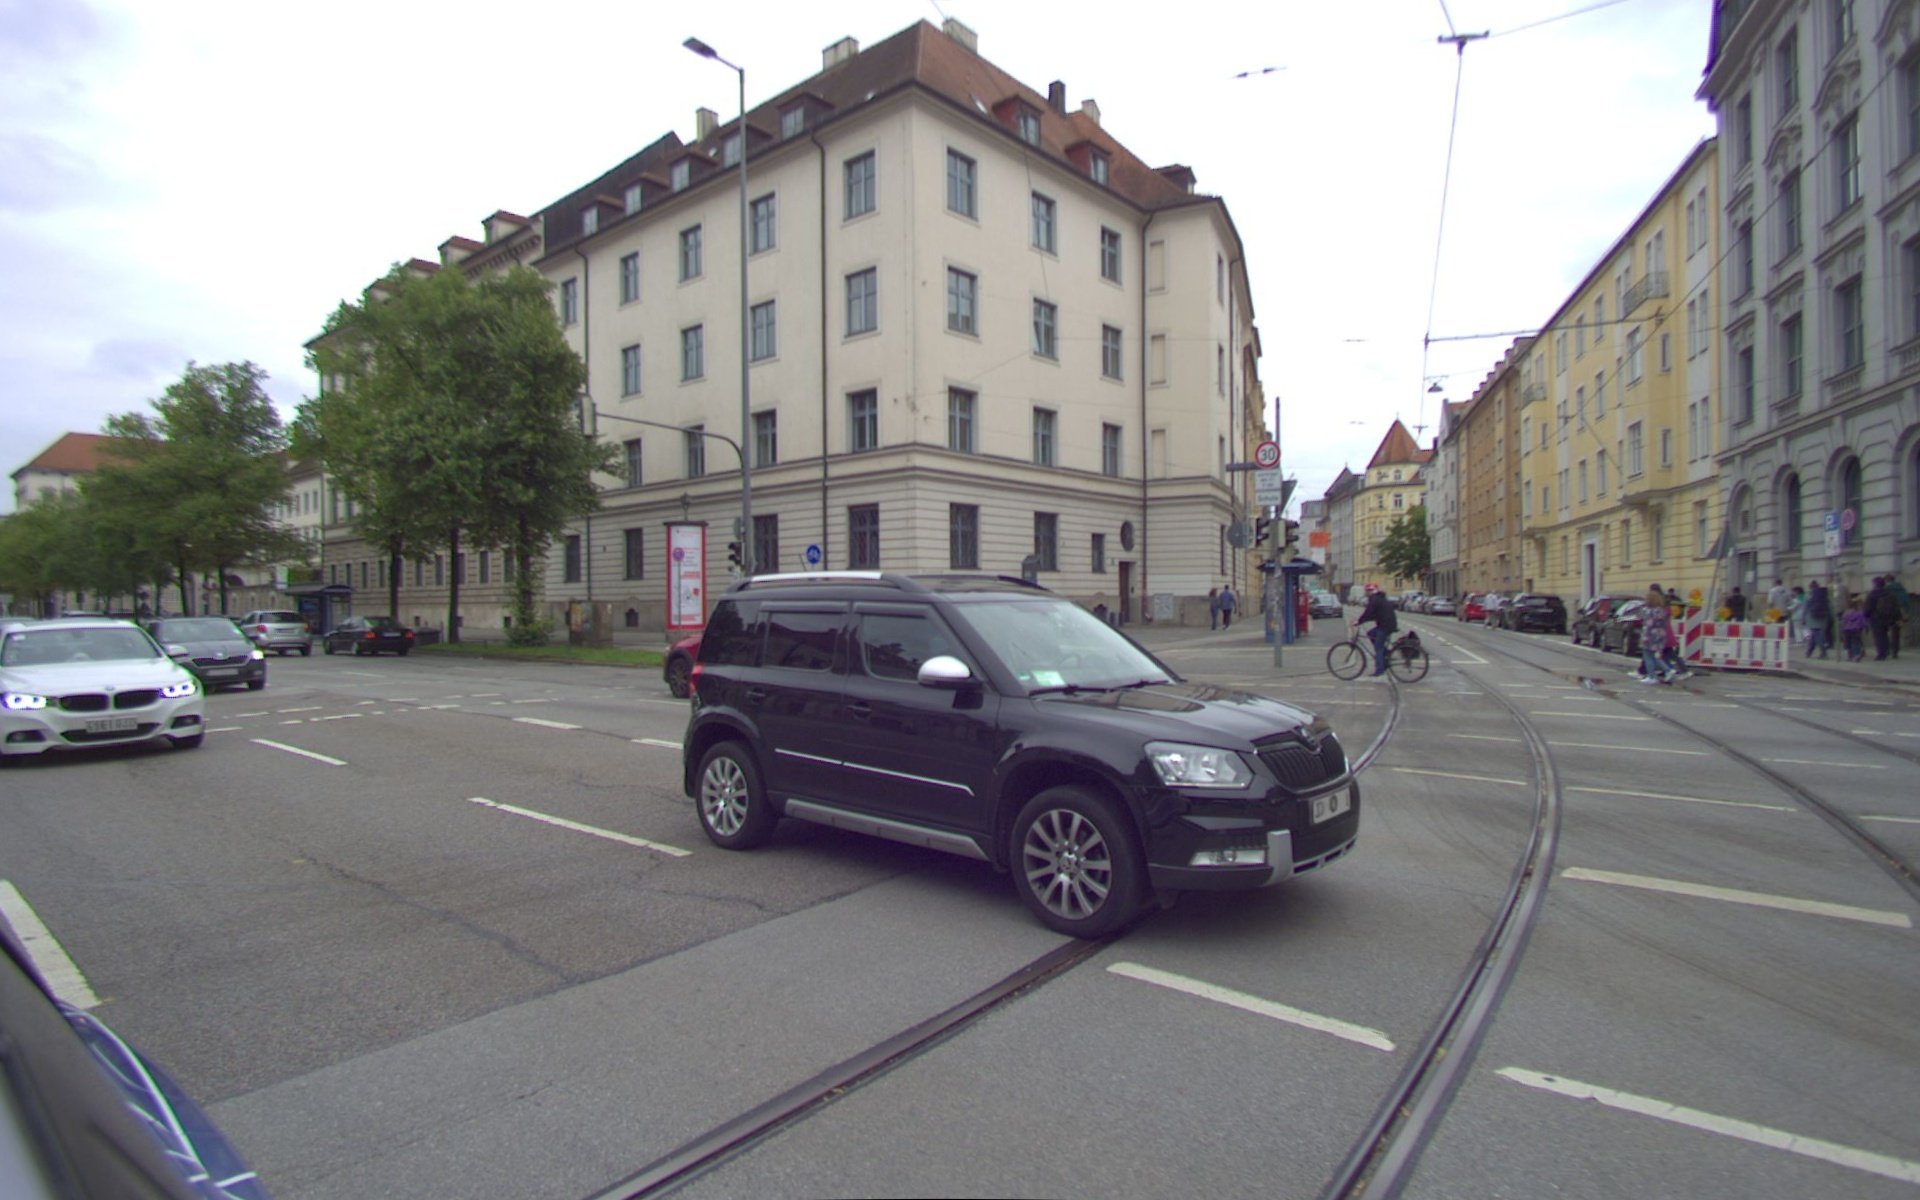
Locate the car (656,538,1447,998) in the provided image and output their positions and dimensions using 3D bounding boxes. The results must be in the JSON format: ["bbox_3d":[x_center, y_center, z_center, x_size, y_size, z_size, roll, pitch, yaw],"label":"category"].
[{"bbox_3d":[0.229,0.604,5.651,4.202,1.649,1.705,0,0,41],"label":"car"}]

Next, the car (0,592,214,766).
[{"bbox_3d":[-10.516,0.759,11.867,5.023,1.649,1.774,0,0,41],"label":"car"}]

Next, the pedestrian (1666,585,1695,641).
[{"bbox_3d":[24.236,0.435,34.039,0.624,1.868,0.676,-1,0,21],"label":"pedestrian"}]

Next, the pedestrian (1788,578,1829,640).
[{"bbox_3d":[22.385,0.241,26.701,0.643,1.607,0.573,-1,1,20],"label":"pedestrian"}]

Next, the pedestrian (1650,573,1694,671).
[{"bbox_3d":[12.878,0.388,18.305,0.494,1.752,0.471,0,0,-31],"label":"pedestrian"}]

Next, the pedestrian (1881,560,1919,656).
[{"bbox_3d":[20.438,0.162,21.816,0.662,2.029,0.576,-1,1,20],"label":"pedestrian"}]

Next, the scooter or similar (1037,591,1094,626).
[{"bbox_3d":[3.642,0.293,35.088,1.901,1.166,0.681,-1,1,42],"label":"scooter or similar"}]

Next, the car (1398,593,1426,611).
[{"bbox_3d":[40.913,0.208,91.686,1.984,1.608,3.698,-1,0,19],"label":"car"}]

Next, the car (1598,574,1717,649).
[{"bbox_3d":[17.441,0.289,25.467,1.682,1.743,3.547,-1,0,22],"label":"car"}]

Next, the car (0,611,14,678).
[{"bbox_3d":[-23.108,1.003,23.097,4.272,1.458,1.774,0,0,41],"label":"car"}]

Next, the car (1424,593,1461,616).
[{"bbox_3d":[34.870,0.301,73.175,1.984,1.608,3.698,-1,0,19],"label":"car"}]

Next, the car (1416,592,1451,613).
[{"bbox_3d":[36.495,0.189,78.101,1.984,1.608,3.698,-1,0,19],"label":"car"}]

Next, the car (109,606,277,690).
[{"bbox_3d":[-15.084,0.852,19.829,4.272,1.458,1.774,0,0,41],"label":"car"}]

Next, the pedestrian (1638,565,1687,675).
[{"bbox_3d":[12.199,0.340,17.568,0.494,1.868,0.529,0,0,-31],"label":"pedestrian"}]

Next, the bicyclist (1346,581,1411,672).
[{"bbox_3d":[7.530,0.460,18.201,0.892,1.590,0.653,-1,1,42],"label":"bicyclist"}]

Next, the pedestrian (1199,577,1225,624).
[{"bbox_3d":[10.112,0.006,40.611,0.660,1.866,0.797,-1,1,42],"label":"pedestrian"}]

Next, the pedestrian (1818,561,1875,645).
[{"bbox_3d":[21.931,0.061,25.041,0.797,2.029,0.775,-1,1,20],"label":"pedestrian"}]

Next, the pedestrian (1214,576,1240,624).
[{"bbox_3d":[10.596,-0.002,40.191,0.660,1.866,0.797,-1,1,42],"label":"pedestrian"}]

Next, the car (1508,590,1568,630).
[{"bbox_3d":[23.989,0.422,42.118,1.682,1.588,3.547,-1,0,22],"label":"car"}]

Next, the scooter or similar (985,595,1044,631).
[{"bbox_3d":[1.804,0.424,33.559,1.947,1.127,0.681,-1,1,42],"label":"scooter or similar"}]

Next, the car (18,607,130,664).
[{"bbox_3d":[-24.655,0.925,28.114,4.272,1.458,1.774,0,0,41],"label":"car"}]

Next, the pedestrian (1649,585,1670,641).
[{"bbox_3d":[23.683,0.436,34.263,0.499,1.868,0.466,0,0,23],"label":"pedestrian"}]

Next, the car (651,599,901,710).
[{"bbox_3d":[-3.054,0.776,16.320,4.225,1.541,1.735,0,0,41],"label":"car"}]

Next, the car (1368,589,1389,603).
[{"bbox_3d":[47.353,-0.430,114.566,1.984,1.608,3.698,-1,0,19],"label":"car"}]

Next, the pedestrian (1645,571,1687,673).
[{"bbox_3d":[13.152,0.408,18.849,0.494,1.868,0.471,0,0,-31],"label":"pedestrian"}]

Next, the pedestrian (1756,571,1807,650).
[{"bbox_3d":[21.497,0.256,26.487,0.797,2.029,0.775,-1,1,20],"label":"pedestrian"}]

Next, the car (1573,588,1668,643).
[{"bbox_3d":[19.602,0.458,30.180,1.682,1.530,3.547,-1,0,22],"label":"car"}]

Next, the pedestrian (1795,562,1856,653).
[{"bbox_3d":[19.636,0.166,22.968,0.797,2.029,0.775,-1,1,20],"label":"pedestrian"}]

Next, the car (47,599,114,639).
[{"bbox_3d":[-37.662,0.780,43.295,4.374,1.598,1.704,0,0,43],"label":"car"}]

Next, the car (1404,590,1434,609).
[{"bbox_3d":[39.493,-0.029,87.219,1.984,1.608,3.698,-1,0,19],"label":"car"}]

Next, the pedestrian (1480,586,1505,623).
[{"bbox_3d":[23.533,0.207,44.727,0.857,1.588,0.871,-1,-1,22],"label":"pedestrian"}]

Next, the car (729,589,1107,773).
[{"bbox_3d":[-0.571,0.722,10.635,3.944,1.583,1.617,-1,0,41],"label":"car"}]

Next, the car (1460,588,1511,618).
[{"bbox_3d":[29.212,0.161,56.352,1.984,1.608,3.698,-1,0,19],"label":"car"}]

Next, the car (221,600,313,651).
[{"bbox_3d":[-23.913,0.865,34.870,4.163,1.652,1.661,-1,-1,42],"label":"car"}]

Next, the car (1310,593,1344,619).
[{"bbox_3d":[24.122,0.386,66.599,1.984,1.608,3.698,-1,0,19],"label":"car"}]

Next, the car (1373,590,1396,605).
[{"bbox_3d":[45.647,-0.275,108.892,1.984,1.608,3.698,-1,0,19],"label":"car"}]

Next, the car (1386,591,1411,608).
[{"bbox_3d":[42.969,-0.015,99.214,1.984,1.608,3.698,-1,0,19],"label":"car"}]

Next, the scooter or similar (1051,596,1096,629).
[{"bbox_3d":[4.010,0.443,35.828,1.546,1.127,0.539,-1,1,42],"label":"scooter or similar"}]

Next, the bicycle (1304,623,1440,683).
[{"bbox_3d":[7.429,0.933,18.322,2.180,0.995,0.655,-1,1,42],"label":"bicycle"}]

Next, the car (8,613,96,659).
[{"bbox_3d":[-32.023,1.224,35.648,4.272,1.458,1.774,0,0,41],"label":"car"}]

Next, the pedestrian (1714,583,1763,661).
[{"bbox_3d":[20.567,0.571,26.752,0.797,2.029,0.775,-1,1,20],"label":"pedestrian"}]

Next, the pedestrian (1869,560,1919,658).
[{"bbox_3d":[19.848,0.189,21.387,0.662,2.029,0.775,-1,1,20],"label":"pedestrian"}]

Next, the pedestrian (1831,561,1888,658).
[{"bbox_3d":[19.240,0.200,21.650,0.638,2.029,0.775,-1,1,20],"label":"pedestrian"}]

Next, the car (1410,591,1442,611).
[{"bbox_3d":[38.167,0.070,83.042,1.984,1.608,3.698,-1,0,19],"label":"car"}]

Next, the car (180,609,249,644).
[{"bbox_3d":[-35.609,1.225,48.320,4.442,1.598,1.705,0,0,41],"label":"car"}]
